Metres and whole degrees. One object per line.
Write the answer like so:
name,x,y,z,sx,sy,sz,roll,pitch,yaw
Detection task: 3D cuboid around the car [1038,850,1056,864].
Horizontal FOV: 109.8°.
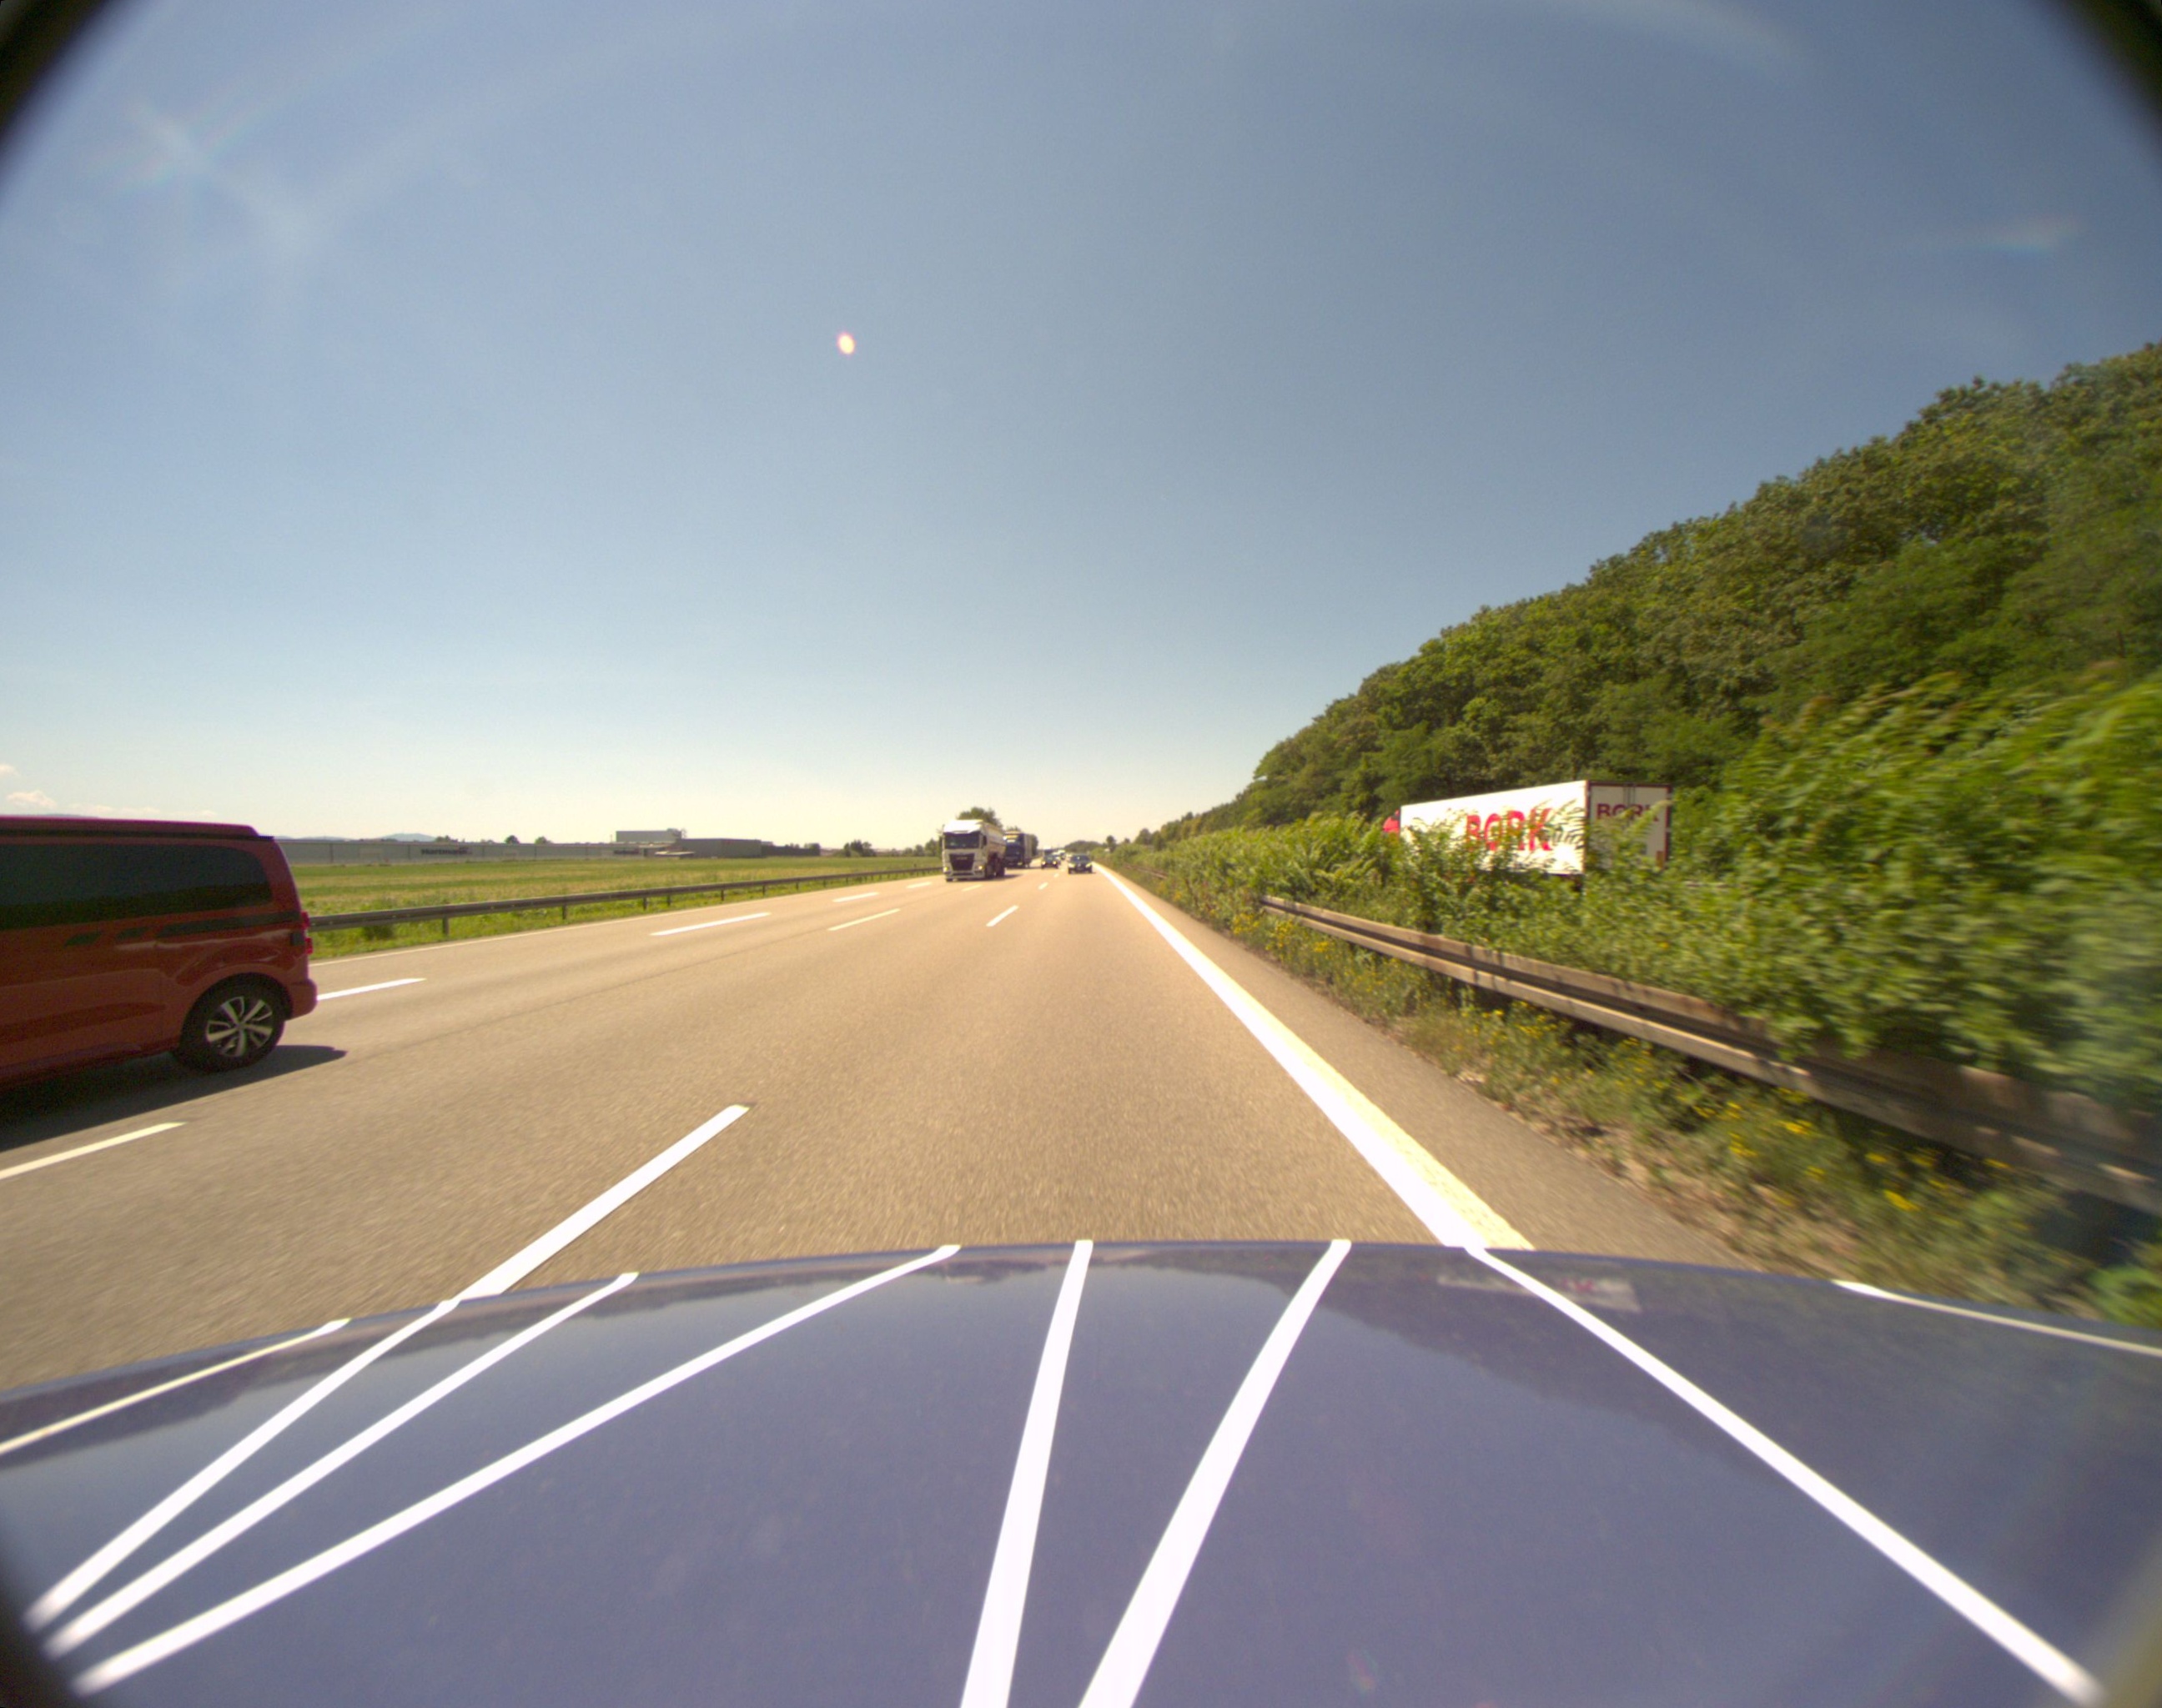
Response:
car,-3.561,0.339,80.992,1.841,1.409,4.496,-1,0,-2

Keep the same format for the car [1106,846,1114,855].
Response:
car,8.505,-1.021,222.876,1.999,2.809,4.596,-1,1,0

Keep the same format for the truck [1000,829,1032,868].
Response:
truck,-7.376,-0.581,87.469,2.797,4.180,10.805,-1,0,-1

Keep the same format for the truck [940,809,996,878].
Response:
truck,-7.219,-0.625,49.077,2.797,4.180,4.999,-1,0,-1

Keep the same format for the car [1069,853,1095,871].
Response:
car,0.039,0.582,58.721,1.887,1.341,4.466,-1,0,-2

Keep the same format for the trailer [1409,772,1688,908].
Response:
trailer,16.792,-0.454,29.219,2.928,4.026,12.915,-1,0,1

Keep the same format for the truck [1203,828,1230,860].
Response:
truck,17.741,-1.294,99.576,2.841,4.011,4.184,1,1,0

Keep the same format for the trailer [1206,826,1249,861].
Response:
trailer,17.680,-1.212,92.853,2.841,4.011,12.913,1,0,1

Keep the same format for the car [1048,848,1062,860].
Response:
car,-3.760,-0.043,109.471,1.887,1.634,3.999,-1,0,-1

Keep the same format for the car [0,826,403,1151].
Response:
car,-7.569,0.856,4.583,1.860,1.991,5.521,-2,0,1

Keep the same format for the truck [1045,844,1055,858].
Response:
truck,-9.267,-0.828,228.394,2.798,4.180,10.804,-1,0,-2

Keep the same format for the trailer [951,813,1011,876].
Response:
trailer,-7.222,-0.657,56.823,2.797,4.180,12.351,-1,0,0

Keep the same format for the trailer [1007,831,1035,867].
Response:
trailer,-7.478,-0.632,96.213,2.797,4.180,10.805,-1,0,-1

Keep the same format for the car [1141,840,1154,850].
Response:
car,12.871,-1.758,147.179,2.054,2.002,4.000,-1,1,1

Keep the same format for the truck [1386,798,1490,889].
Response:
truck,16.935,-0.503,36.360,2.928,4.026,4.294,-1,1,1
